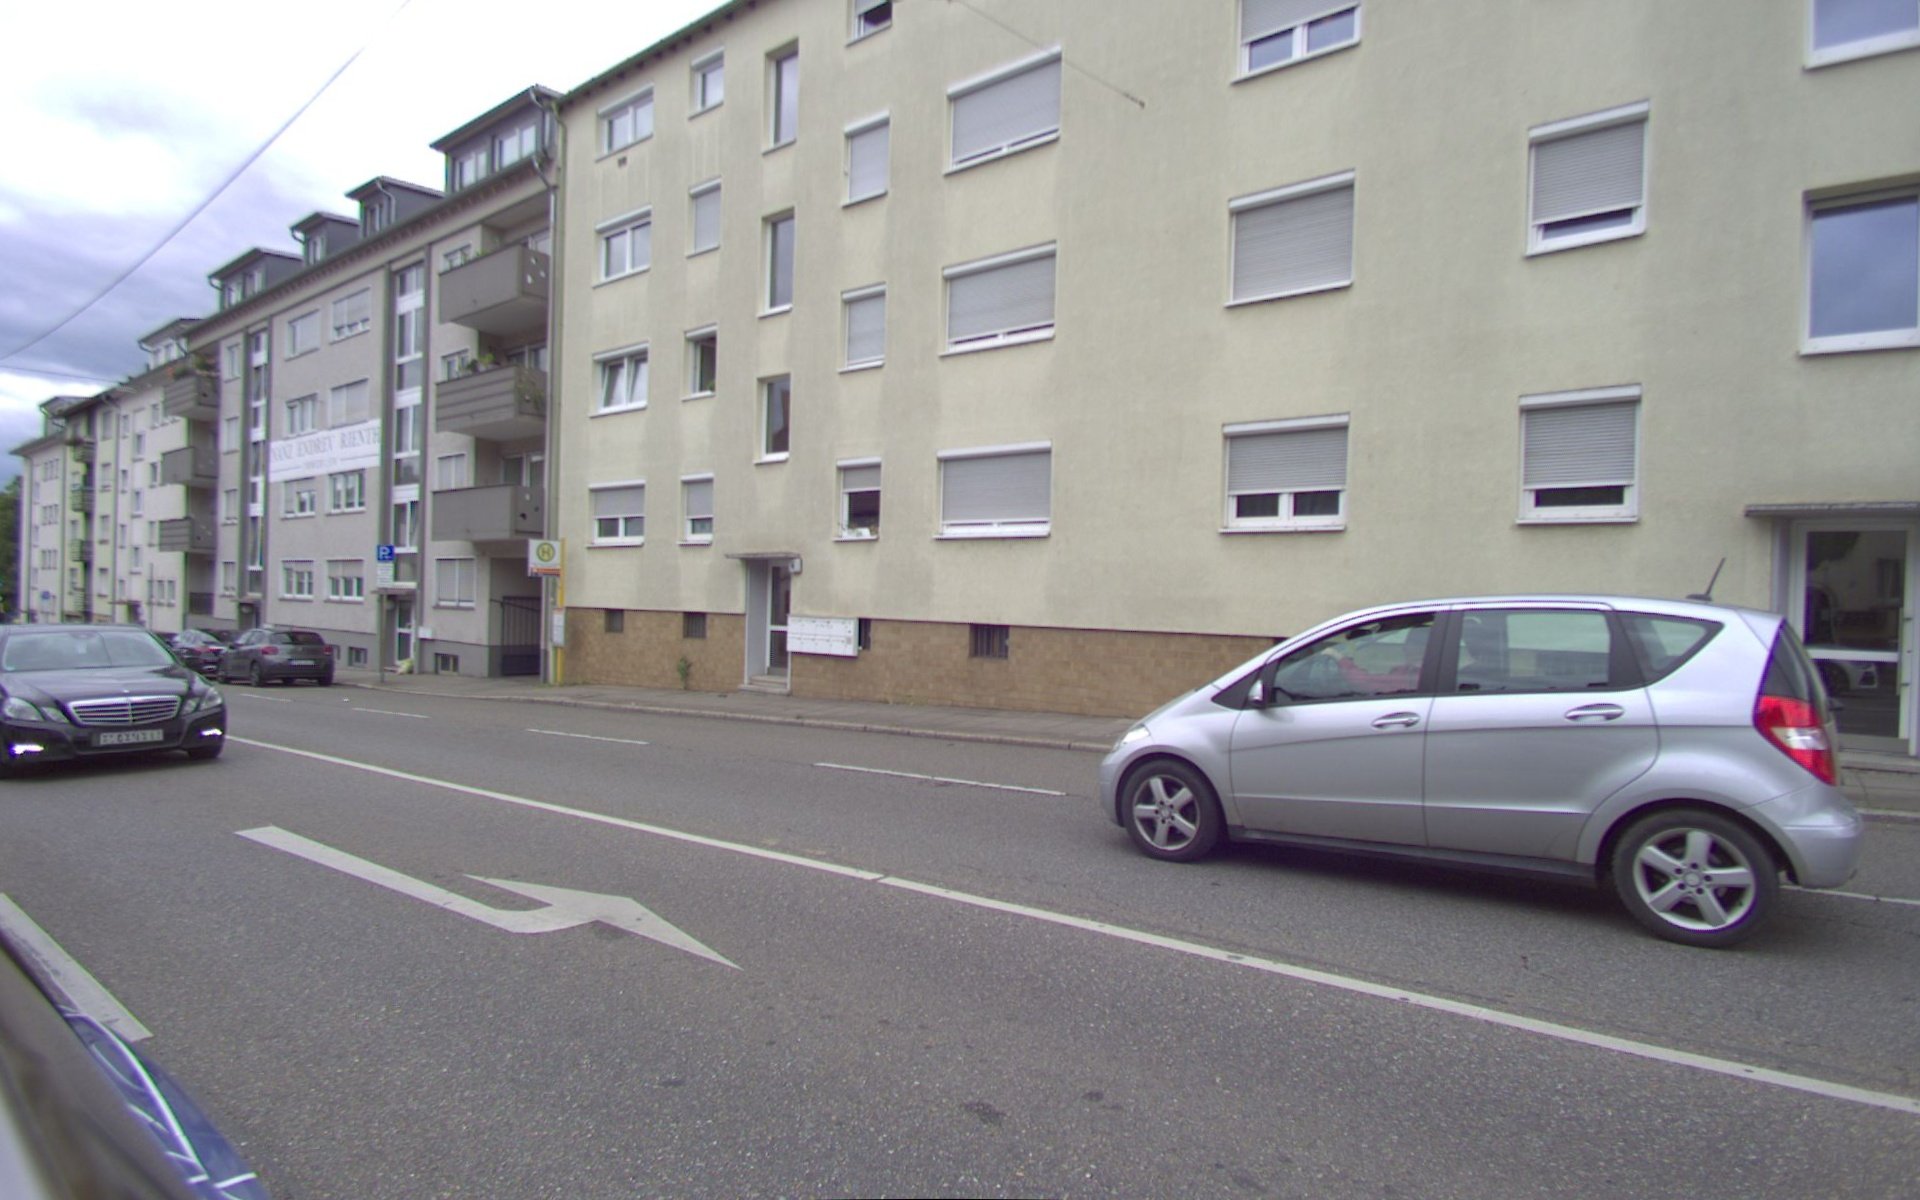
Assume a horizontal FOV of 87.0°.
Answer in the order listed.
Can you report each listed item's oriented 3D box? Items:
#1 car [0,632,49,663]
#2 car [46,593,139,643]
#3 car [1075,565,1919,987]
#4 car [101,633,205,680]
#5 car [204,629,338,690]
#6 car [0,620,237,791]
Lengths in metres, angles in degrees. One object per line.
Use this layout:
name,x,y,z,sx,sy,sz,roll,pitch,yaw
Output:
car,-46.413,2.318,49.718,4.305,1.391,1.851,-1,-4,41
car,-33.138,0.708,38.624,4.302,1.767,1.852,-1,-4,39
car,2.799,0.700,5.728,3.995,1.630,1.692,-1,-1,39
car,-26.197,1.776,32.819,4.303,1.416,1.750,-1,-2,39
car,-17.809,1.502,26.104,3.797,1.447,1.751,-1,-4,39
car,-9.536,0.955,10.861,4.440,1.465,1.731,-1,-1,38
